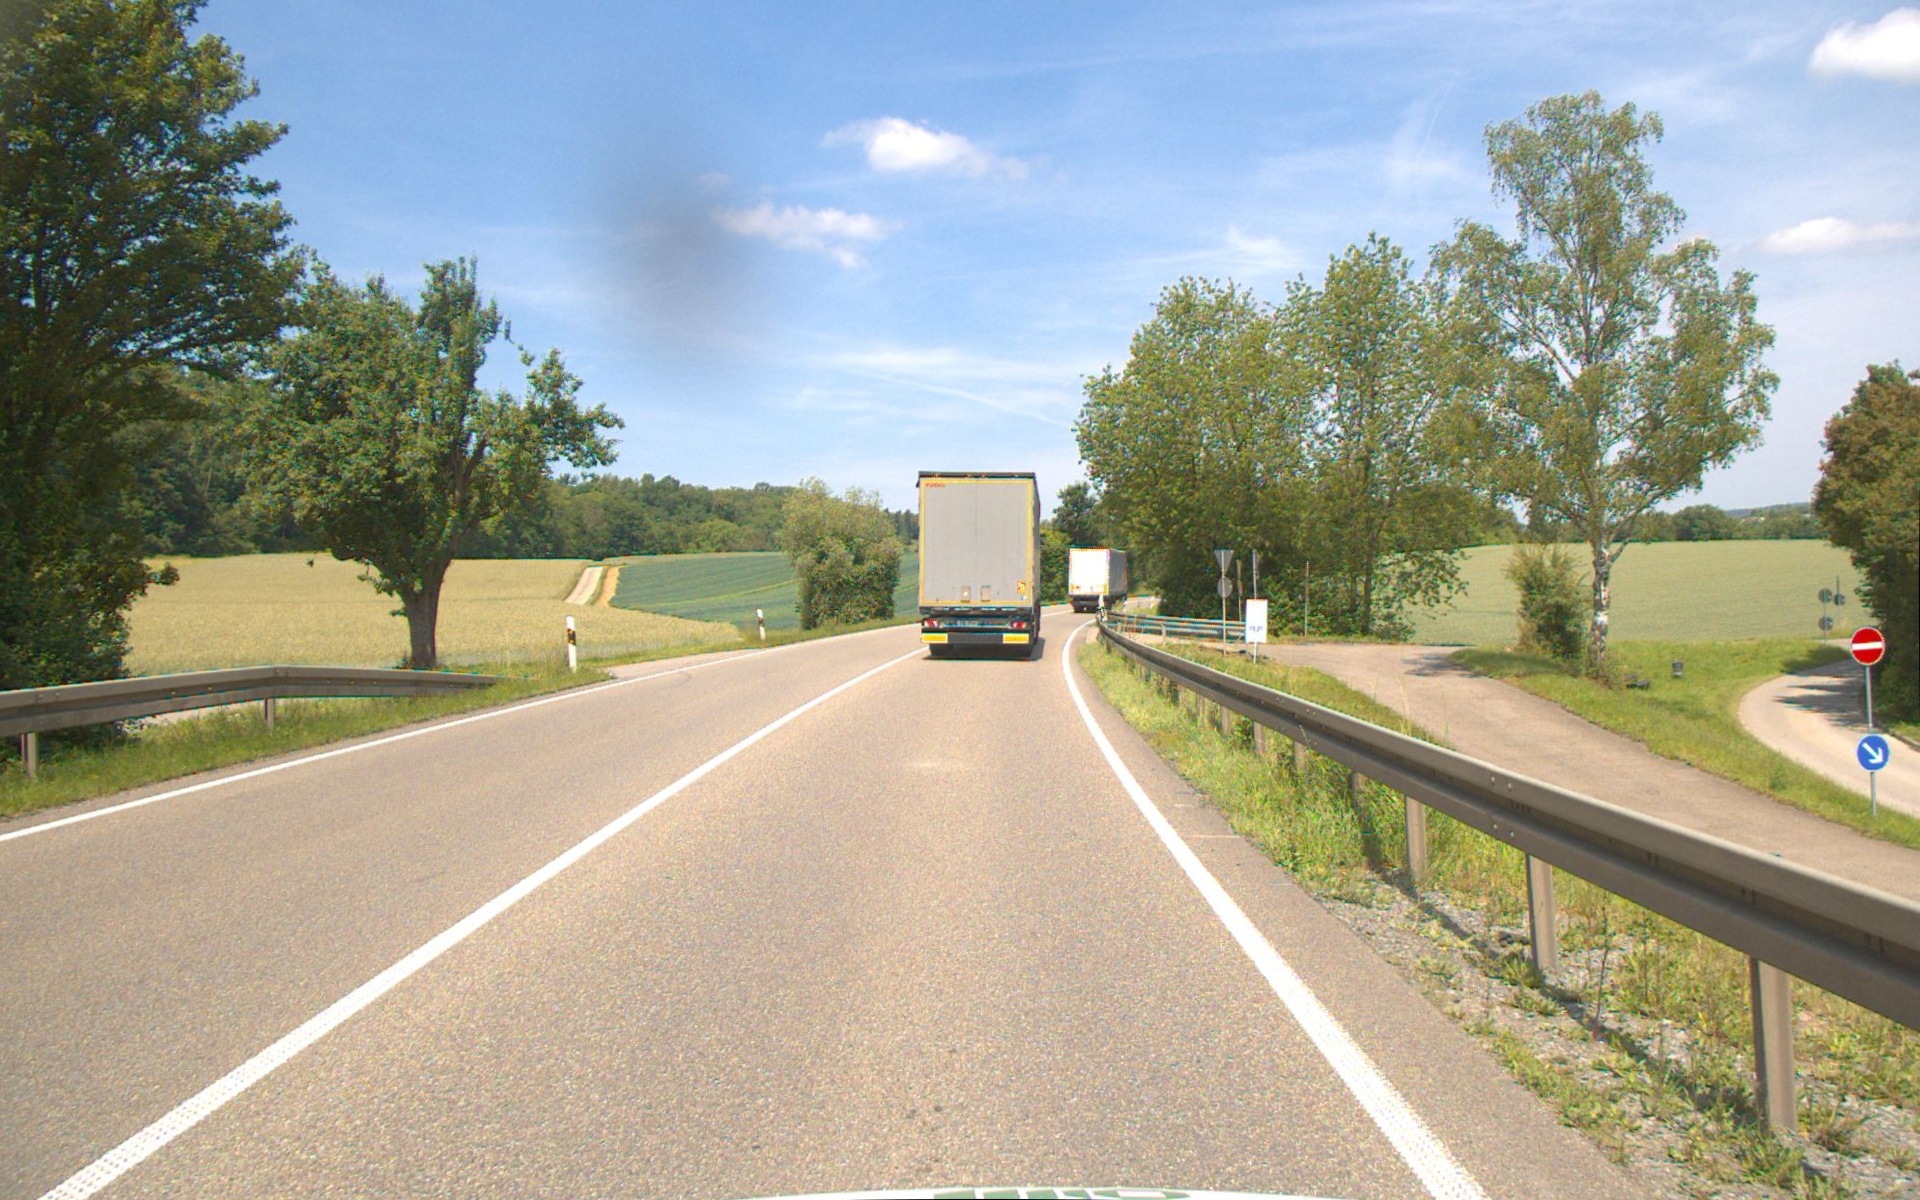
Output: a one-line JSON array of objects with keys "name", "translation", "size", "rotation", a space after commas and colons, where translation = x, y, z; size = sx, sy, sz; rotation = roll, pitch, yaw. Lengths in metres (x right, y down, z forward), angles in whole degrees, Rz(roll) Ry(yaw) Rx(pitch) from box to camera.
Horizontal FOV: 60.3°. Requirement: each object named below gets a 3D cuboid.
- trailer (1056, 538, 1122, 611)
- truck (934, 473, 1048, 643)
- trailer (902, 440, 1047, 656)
[{"name": "trailer", "translation": [8.614, -1.545, 108.954], "size": [3.293, 4.393, 13.875], "rotation": [0, -1, 9]}, {"name": "truck", "translation": [1.009, -1.154, 47.895], "size": [3.053, 4.573, 6.814], "rotation": [0, 0, 3]}, {"name": "trailer", "translation": [0.672, -1.146, 42.081], "size": [3.053, 4.578, 13.892], "rotation": [0, 0, 3]}]
